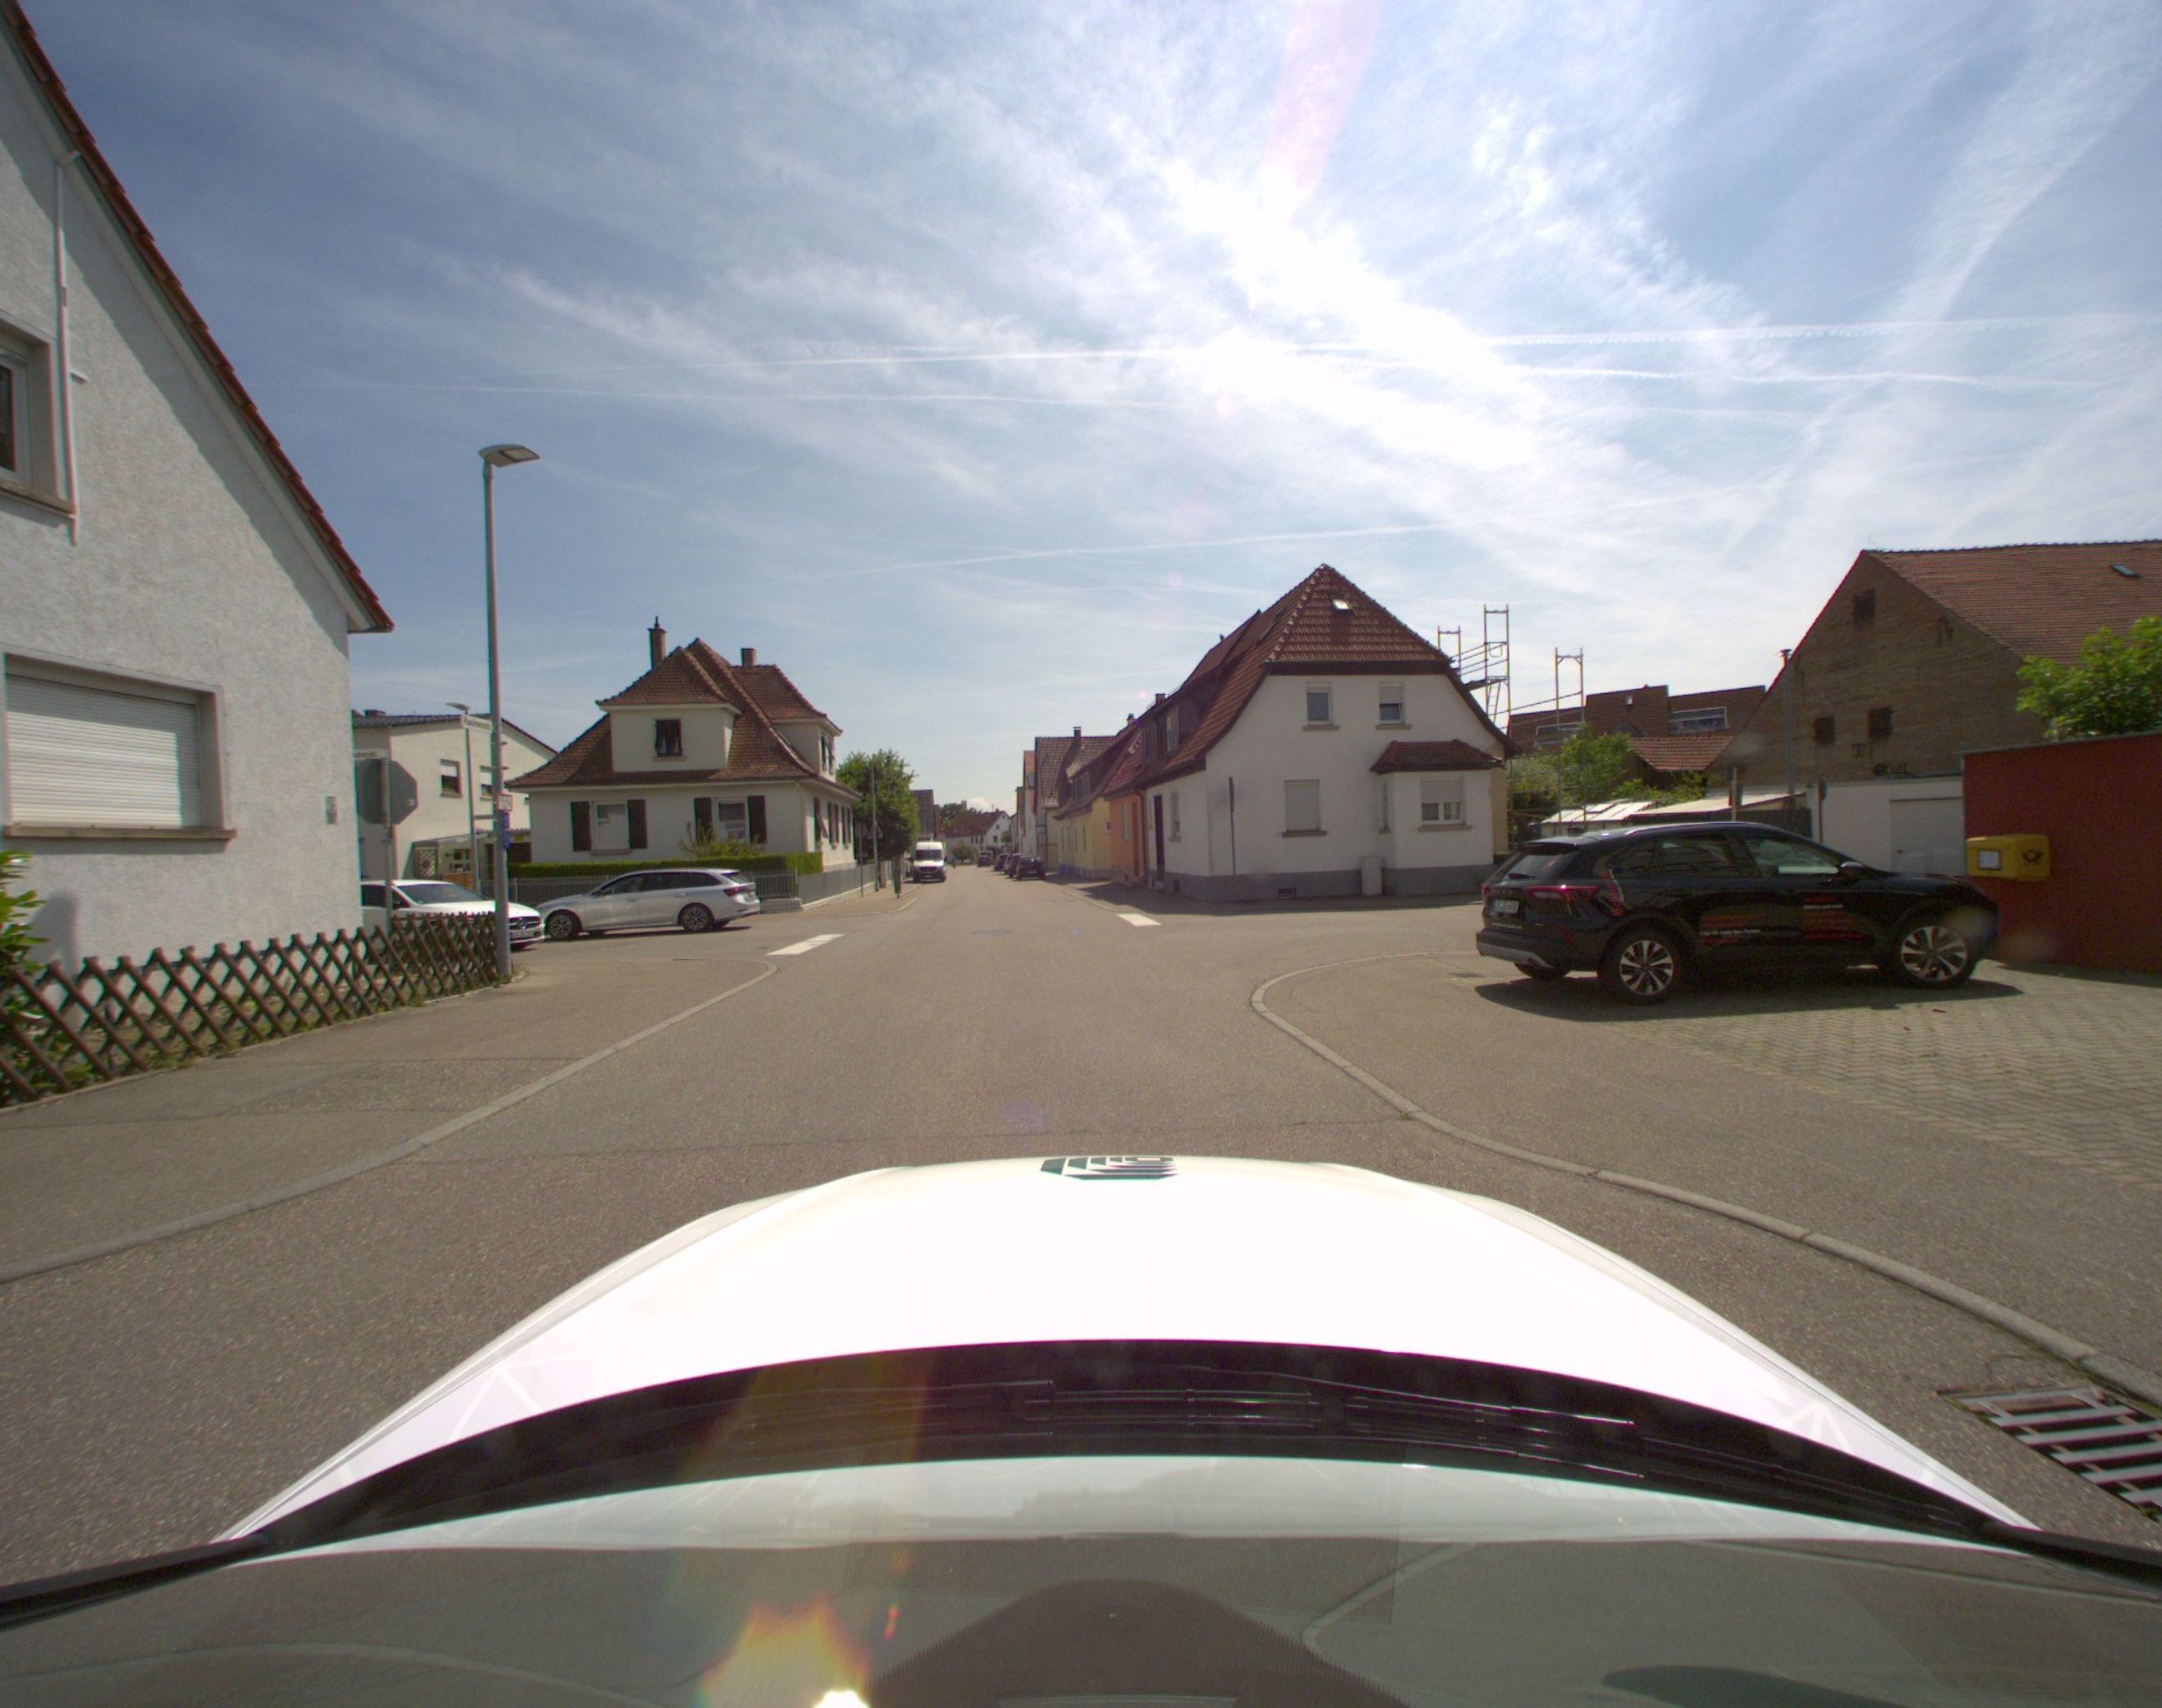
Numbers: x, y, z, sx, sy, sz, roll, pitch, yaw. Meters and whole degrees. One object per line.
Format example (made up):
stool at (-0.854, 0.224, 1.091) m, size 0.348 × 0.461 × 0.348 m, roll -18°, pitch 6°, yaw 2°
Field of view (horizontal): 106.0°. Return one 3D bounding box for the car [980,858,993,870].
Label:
car at (-12.924, 1.367, 111.524) m, size 1.513 × 1.567 × 3.179 m, roll -2°, pitch 0°, yaw -4°

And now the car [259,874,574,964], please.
car at (-12.144, 1.163, 15.038) m, size 4.454 × 1.398 × 1.934 m, roll -2°, pitch 0°, yaw 8°

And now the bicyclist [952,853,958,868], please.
bicyclist at (-16.172, 0.839, 104.305) m, size 0.713 × 1.798 × 0.939 m, roll -2°, pitch 0°, yaw -10°

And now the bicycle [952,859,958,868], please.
bicycle at (-16.171, 1.255, 104.342) m, size 0.670 × 1.132 × 2.182 m, roll -2°, pitch 0°, yaw -9°

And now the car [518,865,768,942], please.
car at (-9.663, 1.053, 18.329) m, size 4.575 × 1.438 × 1.752 m, roll -2°, pitch 0°, yaw -11°

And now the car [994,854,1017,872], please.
car at (-7.548, 0.890, 80.966) m, size 1.876 × 1.700 × 4.169 m, roll -2°, pitch 0°, yaw -10°

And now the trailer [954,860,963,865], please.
trailer at (-21.101, 1.484, 140.382) m, size 1.500 × 0.927 × 1.010 m, roll 0°, pitch 0°, yaw -7°

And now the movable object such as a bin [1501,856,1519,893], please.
movable object such as a bin at (11.405, 0.541, 21.639) m, size 0.227 × 0.946 × 0.359 m, roll -1°, pitch -1°, yaw -11°

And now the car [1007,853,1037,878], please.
car at (-3.958, 0.748, 54.314) m, size 1.727 × 1.600 × 4.242 m, roll -2°, pitch 0°, yaw -7°

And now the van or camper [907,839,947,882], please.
van or camper at (-9.968, 0.434, 53.161) m, size 2.183 × 2.571 × 6.787 m, roll -1°, pitch 0°, yaw -8°

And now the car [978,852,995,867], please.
car at (-14.497, 0.835, 125.603) m, size 2.123 × 2.158 × 4.733 m, roll -3°, pitch 0°, yaw -2°

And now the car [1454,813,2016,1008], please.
car at (6.393, 0.511, 8.355) m, size 4.280 × 1.653 × 1.848 m, roll -2°, pitch 0°, yaw 0°

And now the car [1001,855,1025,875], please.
car at (-5.567, 0.903, 66.111) m, size 1.674 × 1.559 × 3.030 m, roll -2°, pitch 0°, yaw -10°

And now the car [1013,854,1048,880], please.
car at (-3.065, 0.744, 48.794) m, size 1.611 × 1.431 × 3.741 m, roll -2°, pitch 0°, yaw -10°
